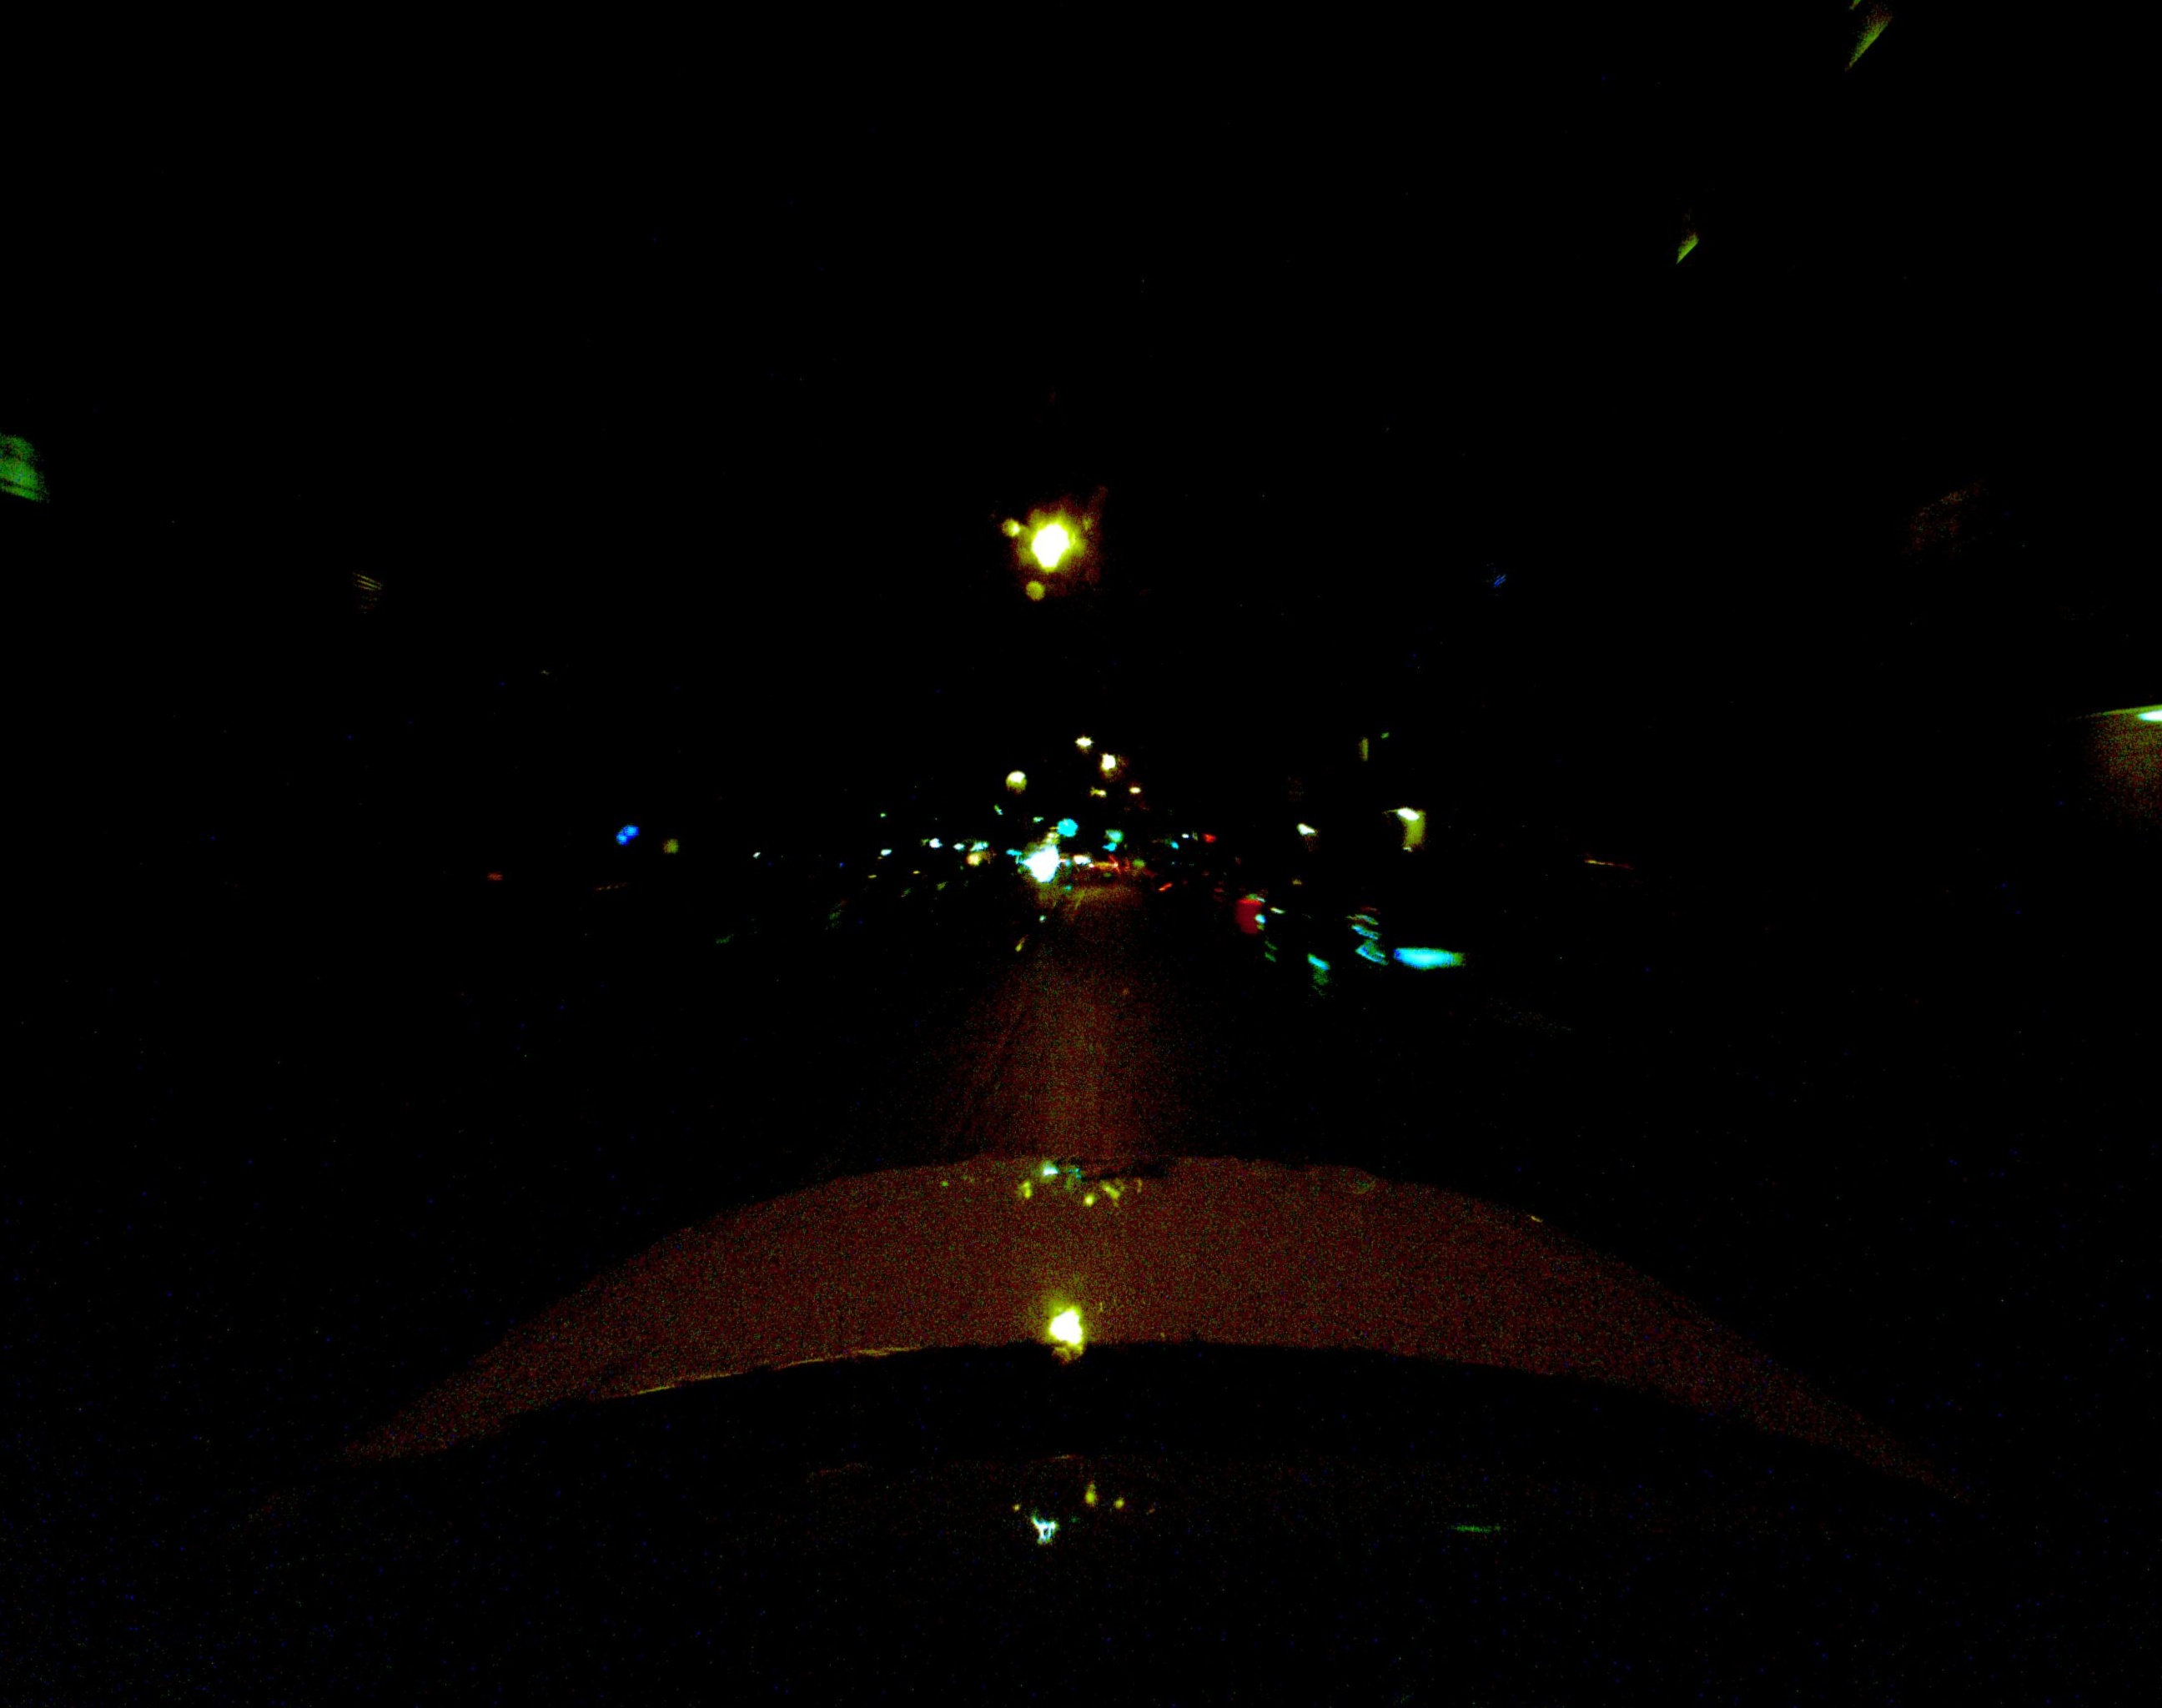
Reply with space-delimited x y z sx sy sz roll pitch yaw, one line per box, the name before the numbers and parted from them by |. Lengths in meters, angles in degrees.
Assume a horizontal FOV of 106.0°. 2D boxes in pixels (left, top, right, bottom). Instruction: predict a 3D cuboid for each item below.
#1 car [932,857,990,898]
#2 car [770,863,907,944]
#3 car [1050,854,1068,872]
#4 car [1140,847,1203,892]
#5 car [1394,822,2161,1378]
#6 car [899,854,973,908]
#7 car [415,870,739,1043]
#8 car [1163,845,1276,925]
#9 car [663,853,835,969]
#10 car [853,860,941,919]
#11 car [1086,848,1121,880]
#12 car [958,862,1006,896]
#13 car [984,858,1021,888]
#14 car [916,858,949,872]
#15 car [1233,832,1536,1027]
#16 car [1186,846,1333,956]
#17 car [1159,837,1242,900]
car | -4.979 0.946 34.381 1.592 1.486 4.276 -5 0 2
car | -5.485 1.044 19.099 1.632 1.456 4.932 -5 0 0
car | -2.714 1.133 100.675 2.029 1.953 5.195 -4 1 -2
car | 3.270 0.526 30.140 1.816 1.422 4.488 -3 0 0
car | 2.941 0.590 3.830 1.452 1.306 3.627 -3 0 -1
car | -5.027 0.887 28.698 1.592 1.605 4.260 -5 0 2
car | -5.520 1.014 9.459 1.426 1.460 3.376 -5 0 3
car | 3.100 0.644 19.265 1.793 1.530 5.052 -3 0 1
car | -5.532 0.869 14.010 1.469 1.619 3.373 -5 0 0
car | -5.358 0.986 24.168 1.593 1.431 4.003 -5 0 0
car | 1.490 0.646 54.226 2.160 1.972 4.302 -2 0 1
car | -4.814 1.187 40.080 1.592 1.373 4.068 -5 0 2
car | -4.812 1.127 50.172 1.592 1.564 4.381 -5 0 2
car | -16.378 1.236 89.981 1.699 1.431 3.939 -2 0 20
car | 3.026 0.640 9.364 1.747 1.547 4.981 -3 0 3
car | 2.943 0.702 14.359 1.817 1.547 4.356 -3 0 3
car | 3.541 0.410 24.899 1.816 1.637 4.488 -3 0 0
